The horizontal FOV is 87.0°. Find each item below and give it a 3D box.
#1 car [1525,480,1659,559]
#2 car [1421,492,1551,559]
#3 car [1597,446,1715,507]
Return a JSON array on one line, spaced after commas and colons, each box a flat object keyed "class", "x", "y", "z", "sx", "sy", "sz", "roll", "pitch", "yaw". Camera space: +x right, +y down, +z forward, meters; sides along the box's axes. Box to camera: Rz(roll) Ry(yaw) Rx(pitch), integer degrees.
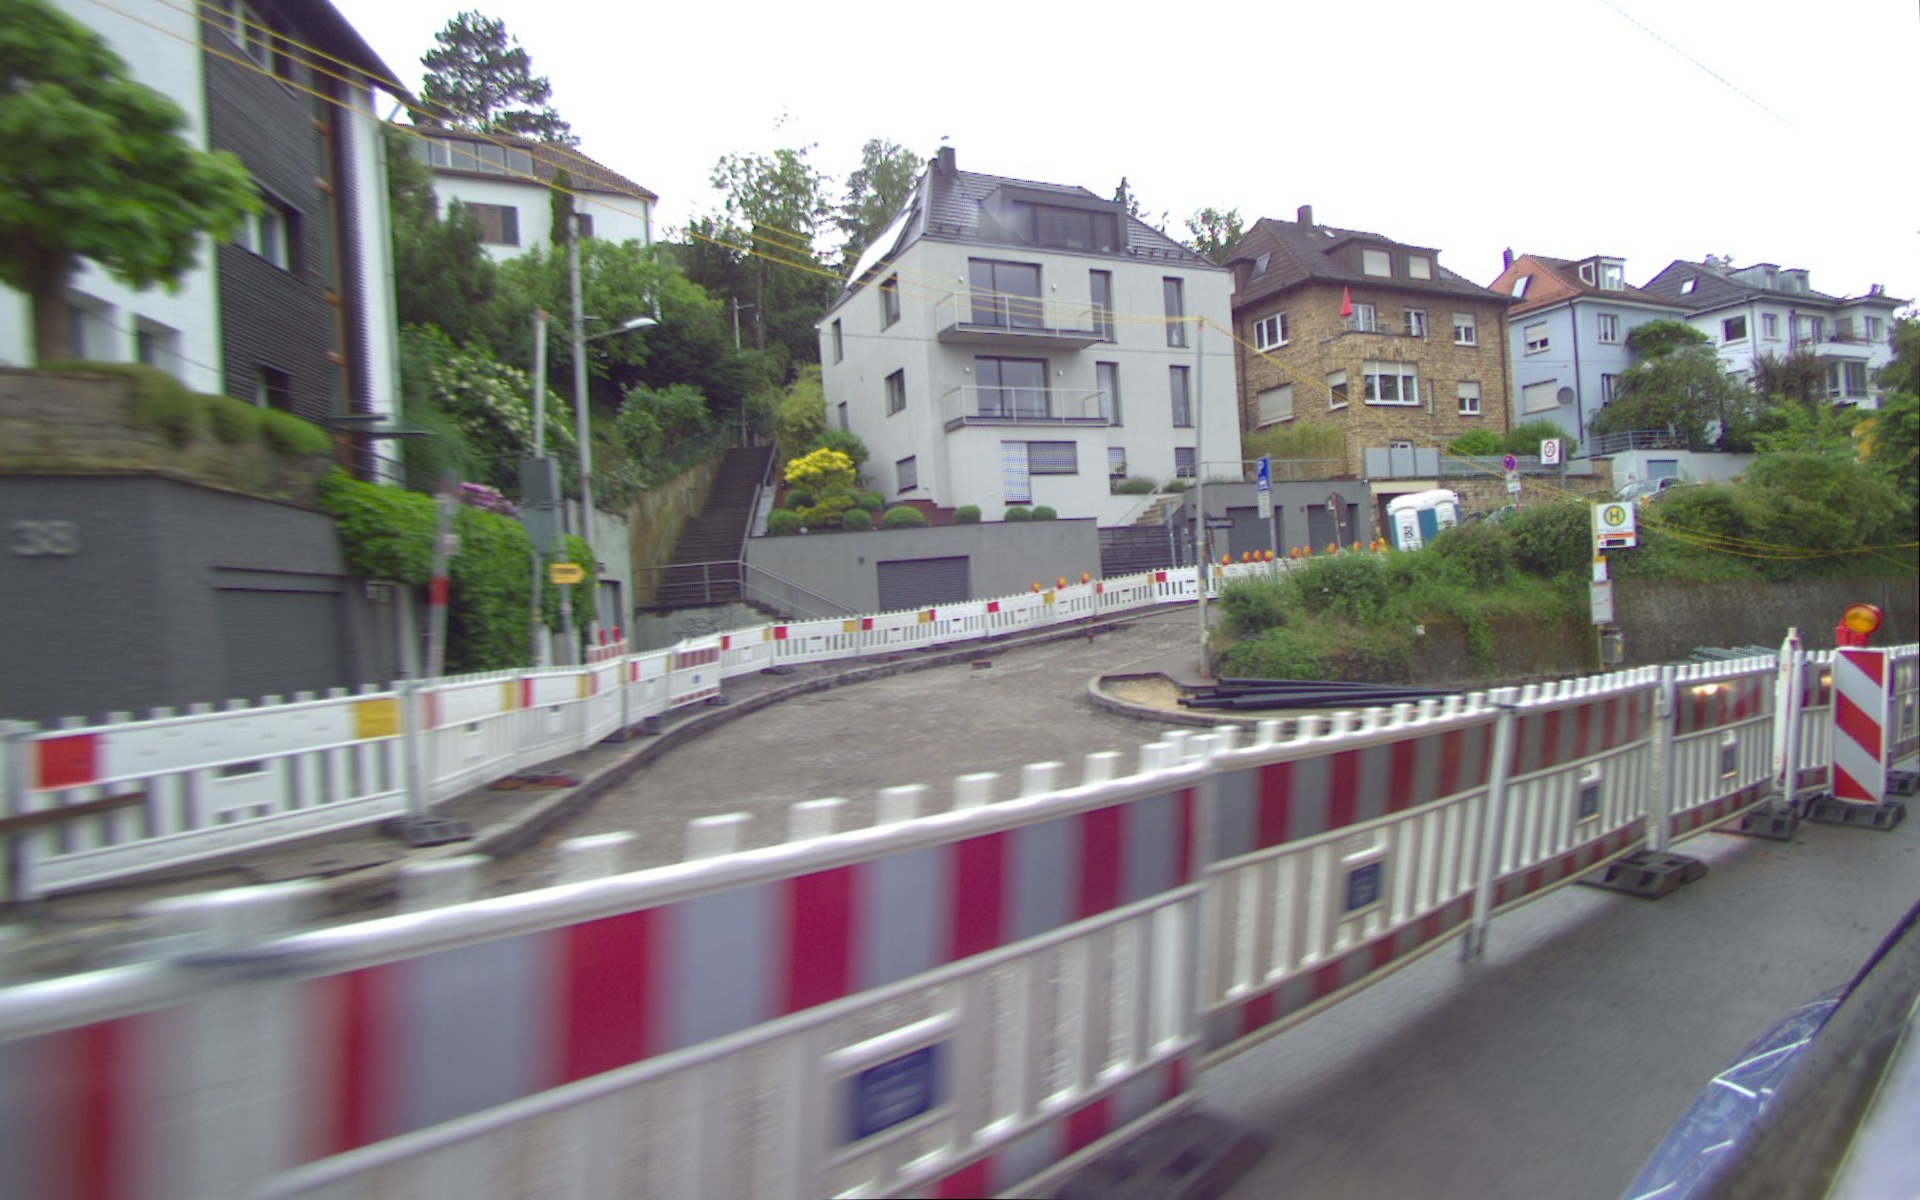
[{"class": "car", "x": 22.311, "y": -2.843, "z": 35.686, "sx": 4.346, "sy": 2.101, "sz": 1.904, "roll": -10, "pitch": 5, "yaw": -26}, {"class": "car", "x": 17.434, "y": -2.464, "z": 33.511, "sx": 3.761, "sy": 1.653, "sz": 1.864, "roll": -10, "pitch": 5, "yaw": -26}, {"class": "car", "x": 25.855, "y": -4.595, "z": 37.591, "sx": 3.889, "sy": 1.653, "sz": 1.864, "roll": -10, "pitch": 5, "yaw": -26}]
